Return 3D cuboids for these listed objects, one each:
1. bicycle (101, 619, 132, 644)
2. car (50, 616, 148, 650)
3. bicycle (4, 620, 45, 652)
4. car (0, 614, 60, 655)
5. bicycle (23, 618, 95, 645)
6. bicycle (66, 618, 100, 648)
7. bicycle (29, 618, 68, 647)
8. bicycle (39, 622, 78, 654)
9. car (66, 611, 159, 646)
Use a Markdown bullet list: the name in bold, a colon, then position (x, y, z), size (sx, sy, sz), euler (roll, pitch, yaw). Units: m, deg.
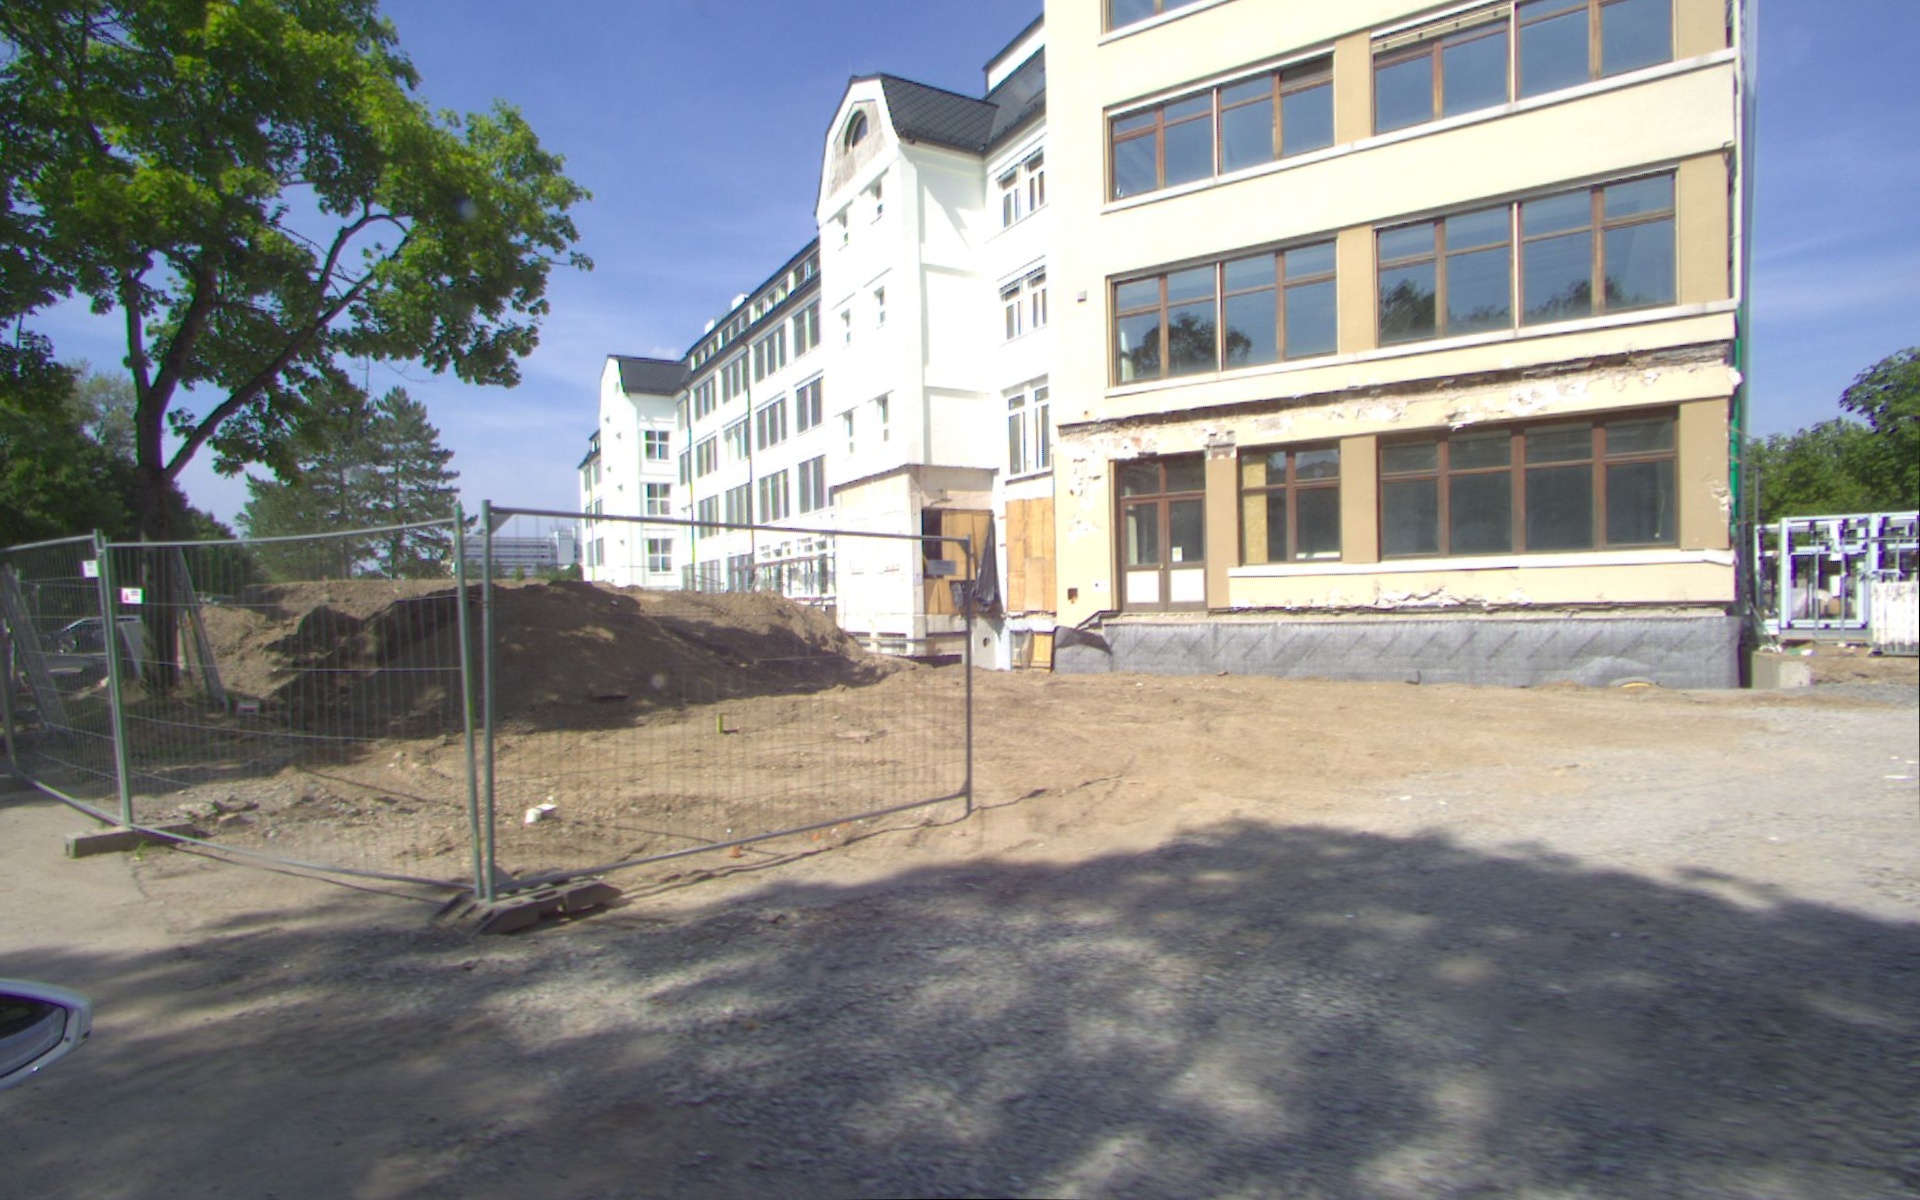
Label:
- **bicycle**: position (-44.841, 1.660, 53.267), size (0.807, 1.301, 2.731), euler (-1, 0, -31)
- **car**: position (-49.567, 1.881, 57.743), size (3.940, 1.795, 1.759), euler (-1, 0, -29)
- **bicycle**: position (-39.981, 1.536, 42.826), size (0.706, 1.301, 2.775), euler (-1, 0, -31)
- **car**: position (-37.889, 1.366, 38.764), size (4.242, 1.544, 1.881), euler (-1, 0, -33)
- **bicycle**: position (-46.134, 1.594, 51.299), size (2.651, 1.301, 0.813), euler (-1, 0, -38)
- **bicycle**: position (-40.687, 1.508, 46.469), size (0.706, 1.301, 2.622), euler (-1, 0, -31)
- **bicycle**: position (-42.561, 1.515, 46.798), size (0.807, 1.301, 2.669), euler (-1, 0, -31)
- **bicycle**: position (-38.349, 1.603, 42.640), size (0.706, 1.301, 2.669), euler (-1, 0, -31)
- **car**: position (-50.992, 1.687, 60.367), size (3.940, 2.040, 1.759), euler (-1, 1, -29)
